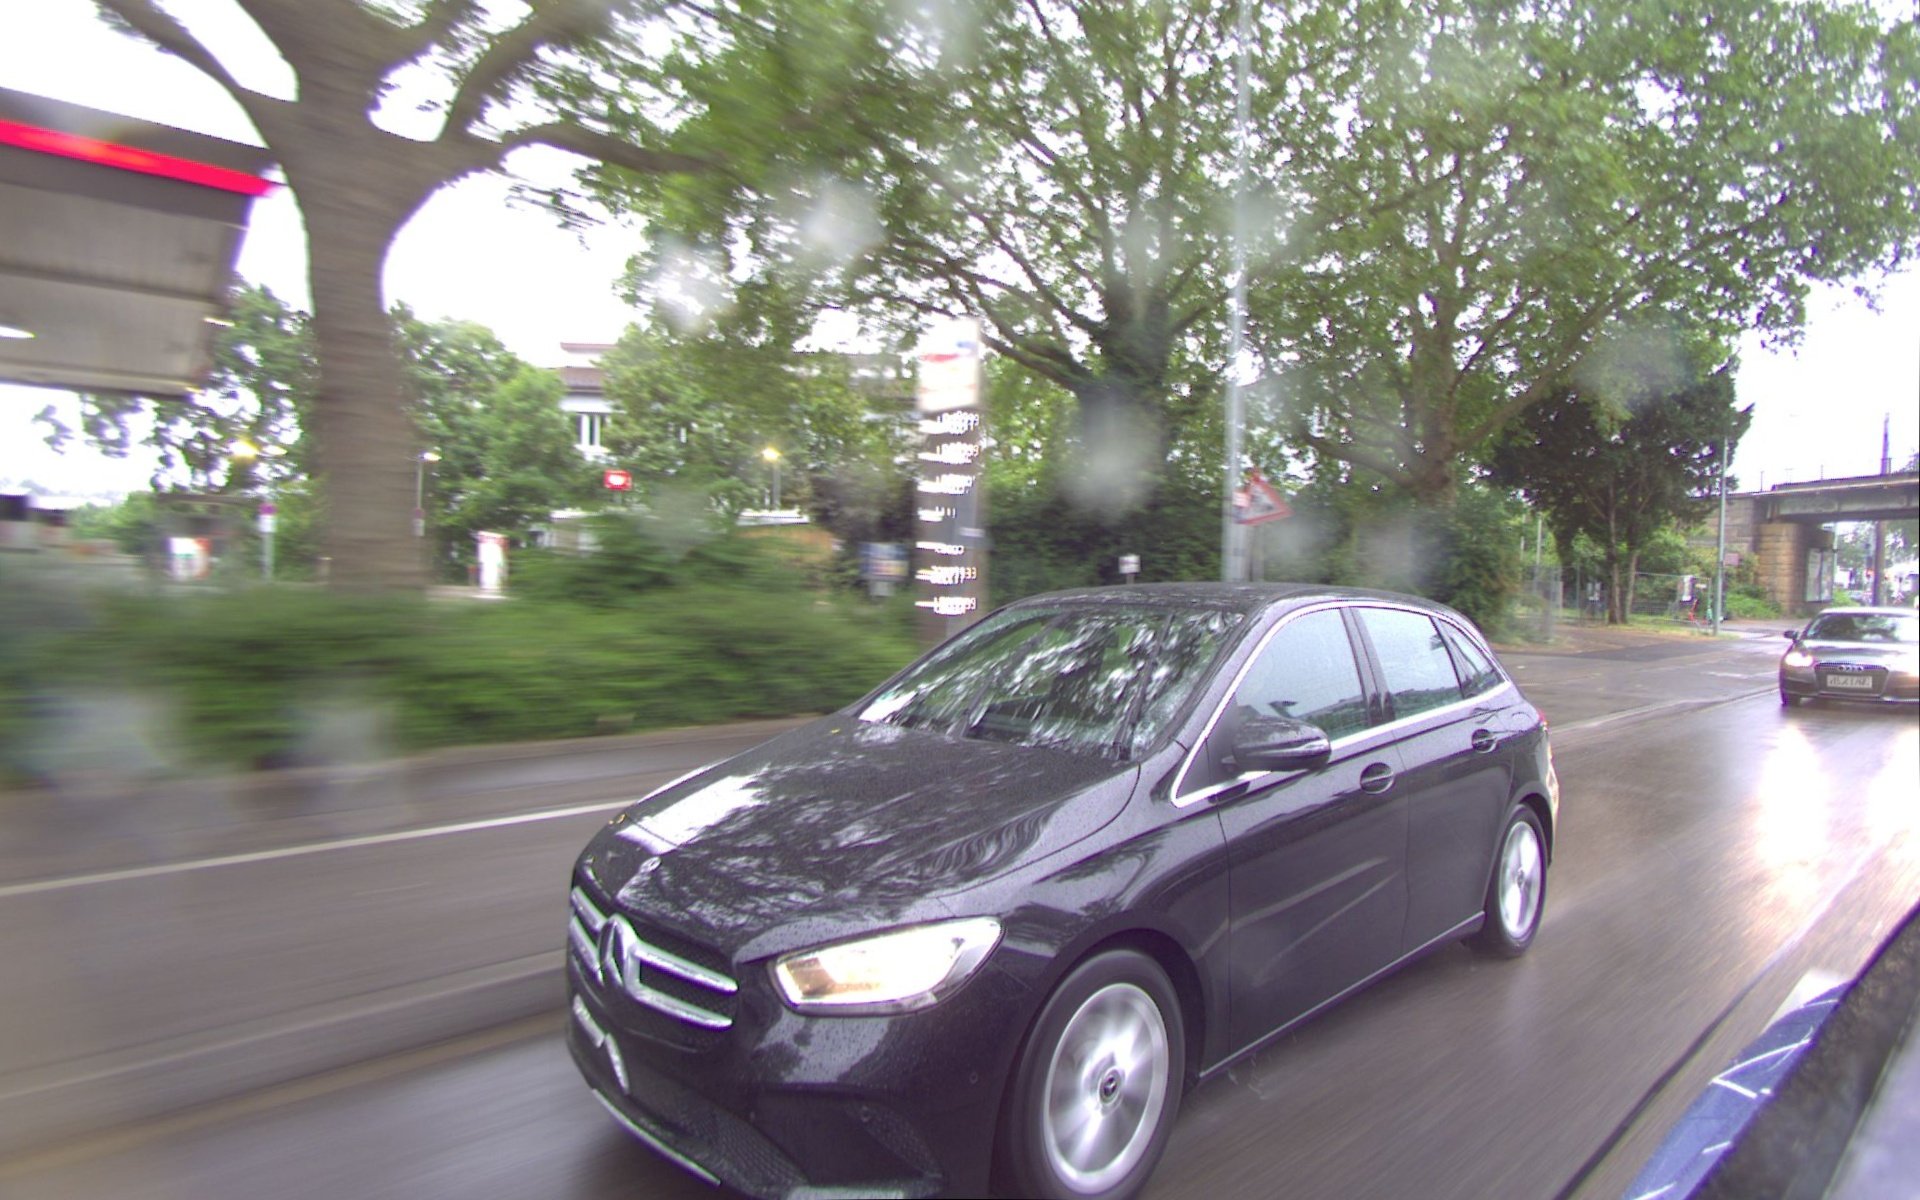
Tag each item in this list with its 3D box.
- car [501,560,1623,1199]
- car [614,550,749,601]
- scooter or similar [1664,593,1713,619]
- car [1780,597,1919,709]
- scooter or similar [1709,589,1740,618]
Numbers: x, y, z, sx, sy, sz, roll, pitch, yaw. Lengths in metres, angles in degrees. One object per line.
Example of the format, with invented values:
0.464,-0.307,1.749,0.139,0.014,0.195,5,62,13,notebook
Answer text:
0.844,0.658,3.832,4.348,1.548,1.819,-3,3,-43,car
-8.756,-0.796,32.290,1.973,1.506,4.606,0,2,18,car
29.597,0.235,41.130,1.705,1.022,0.454,0,0,-3,scooter or similar
13.497,0.685,14.769,3.714,1.402,1.641,-1,1,-39,car
31.511,0.121,41.704,1.792,1.174,0.454,0,0,-34,scooter or similar
